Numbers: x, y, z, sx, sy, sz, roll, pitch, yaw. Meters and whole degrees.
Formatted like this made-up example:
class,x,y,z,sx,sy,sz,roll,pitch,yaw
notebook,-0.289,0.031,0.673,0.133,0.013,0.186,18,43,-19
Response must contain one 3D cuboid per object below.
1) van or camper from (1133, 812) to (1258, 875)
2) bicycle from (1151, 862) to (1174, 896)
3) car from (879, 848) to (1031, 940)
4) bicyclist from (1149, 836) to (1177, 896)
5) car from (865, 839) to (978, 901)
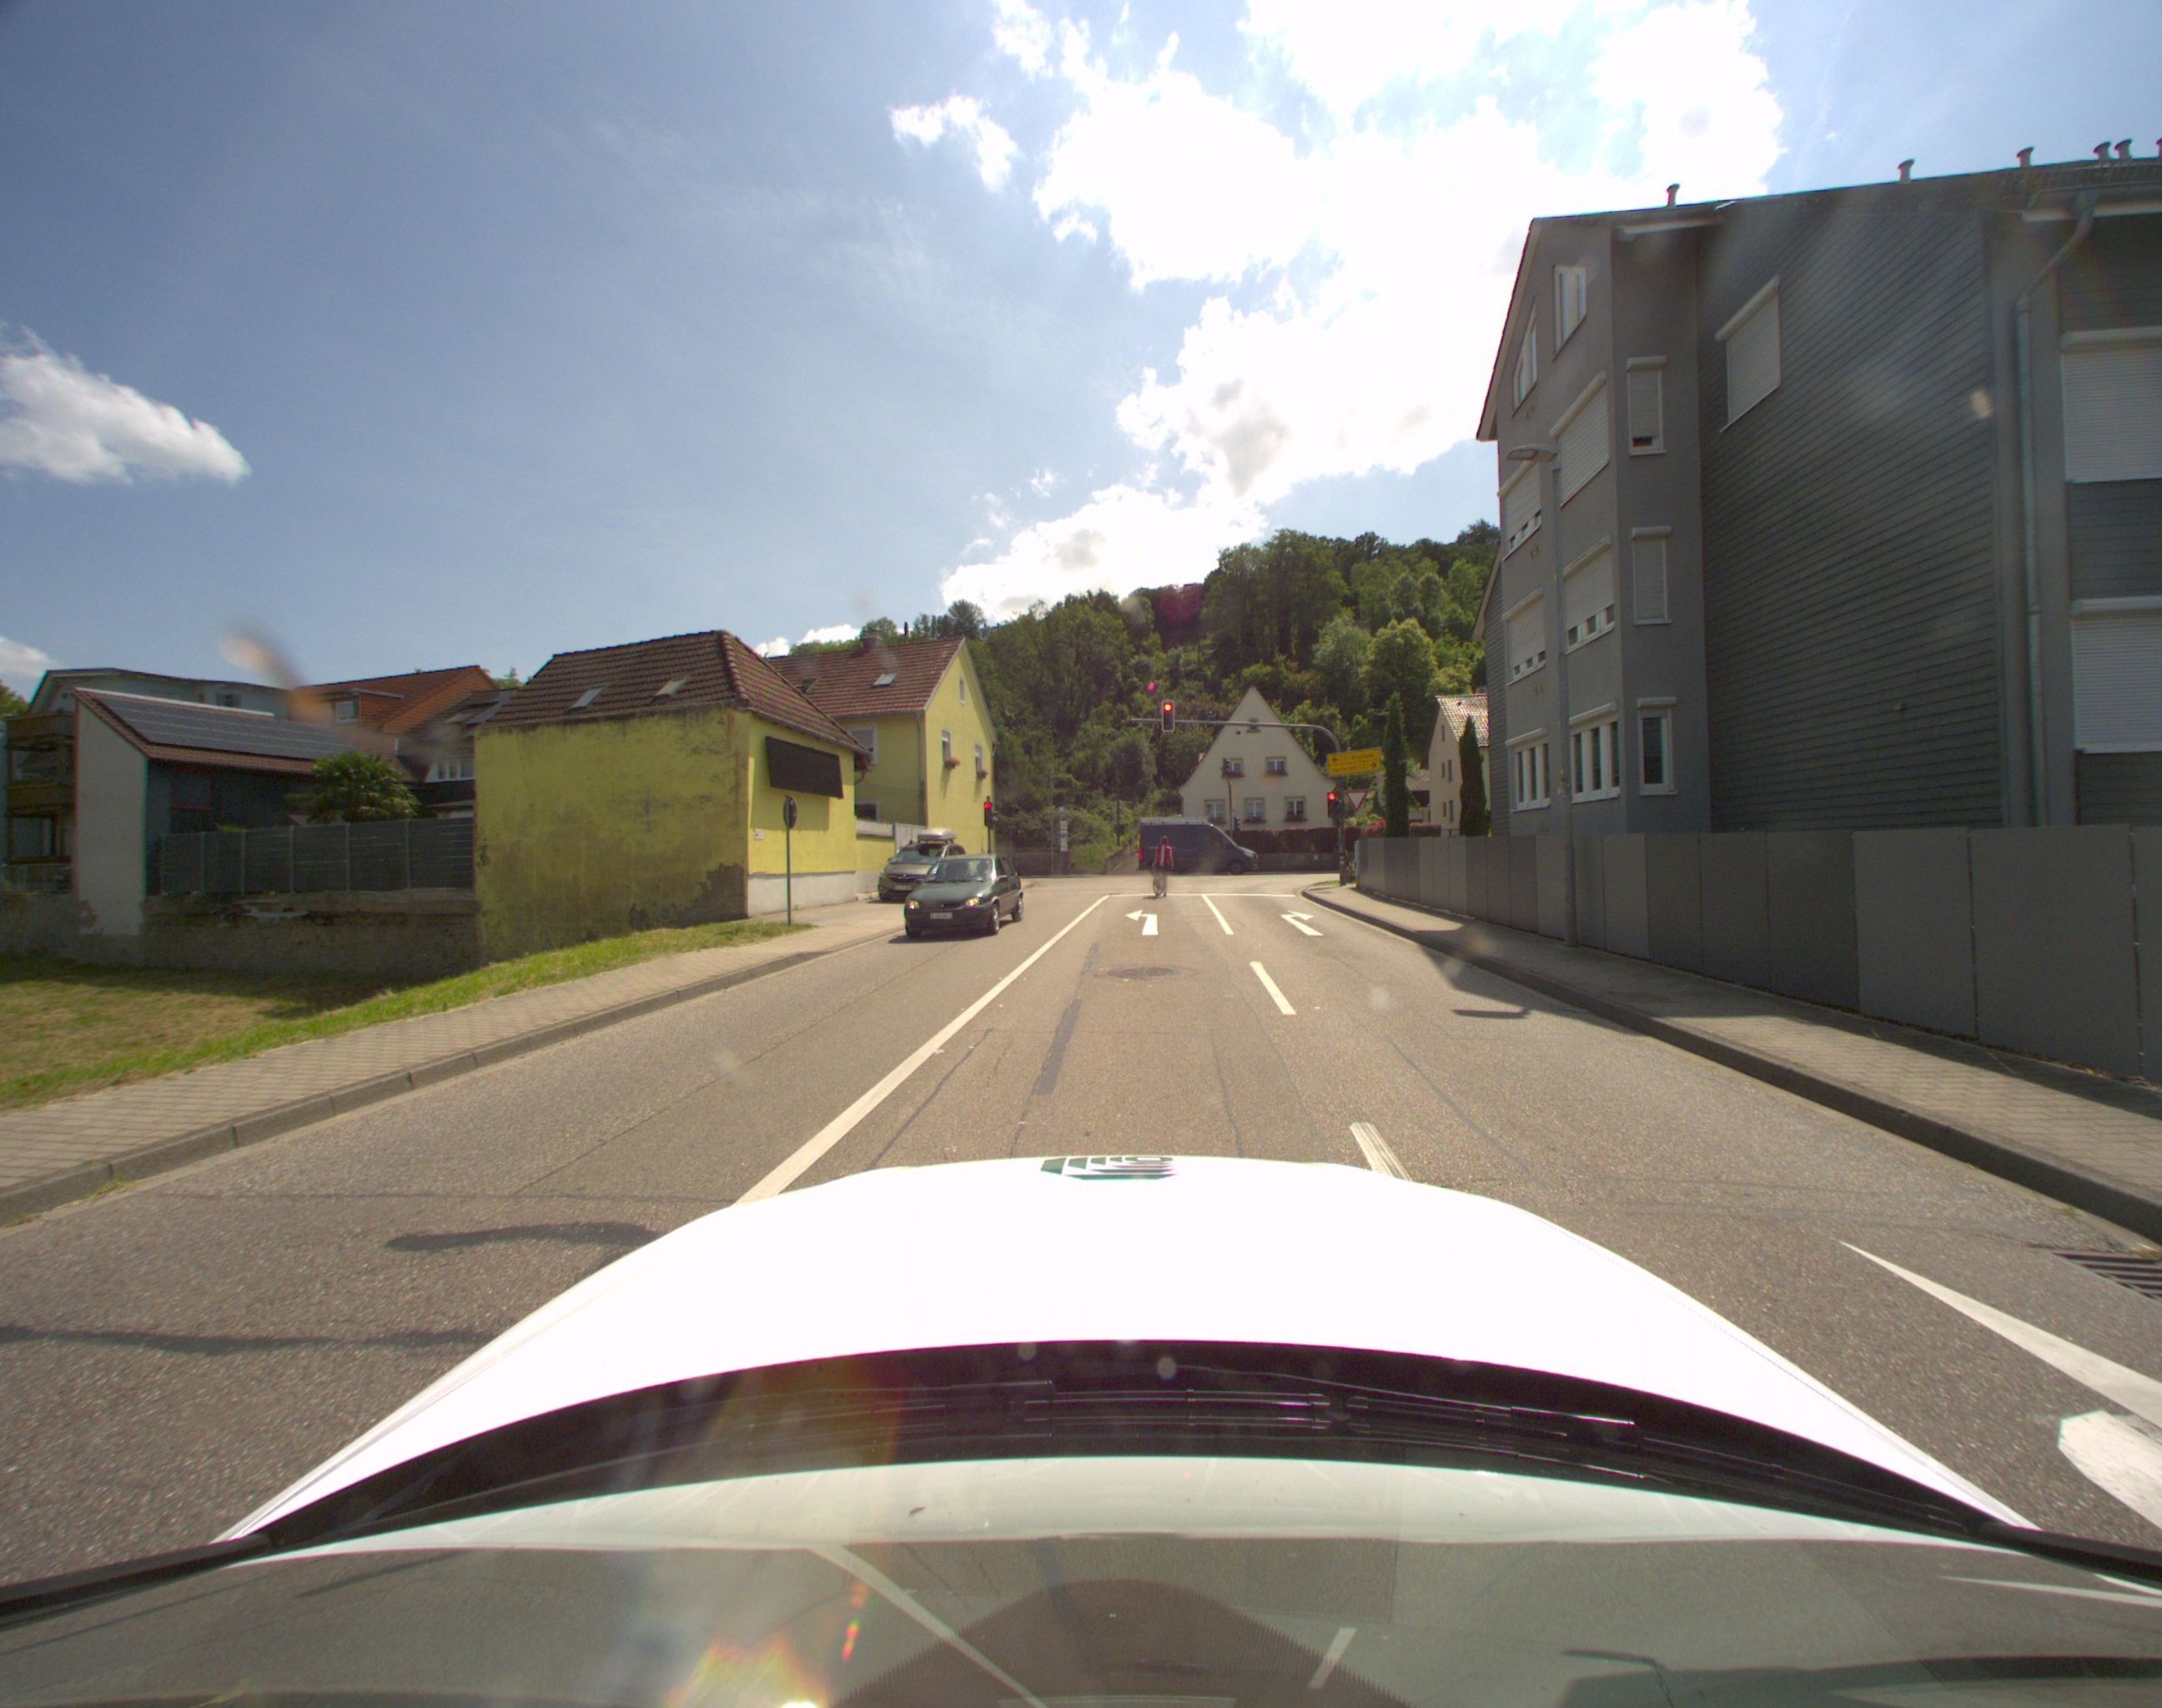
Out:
class,x,y,z,sx,sy,sz,roll,pitch,yaw
van or camper,5.798,-0.495,40.874,5.951,3.004,2.226,-1,0,13
bicycle,2.300,0.687,22.998,0.627,0.905,1.659,0,0,5
car,-2.188,0.644,15.257,1.771,1.433,3.879,-3,0,7
bicyclist,2.305,0.336,22.931,0.757,1.664,0.870,0,0,5
car,-4.562,0.397,24.021,1.984,1.635,4.638,0,1,6
